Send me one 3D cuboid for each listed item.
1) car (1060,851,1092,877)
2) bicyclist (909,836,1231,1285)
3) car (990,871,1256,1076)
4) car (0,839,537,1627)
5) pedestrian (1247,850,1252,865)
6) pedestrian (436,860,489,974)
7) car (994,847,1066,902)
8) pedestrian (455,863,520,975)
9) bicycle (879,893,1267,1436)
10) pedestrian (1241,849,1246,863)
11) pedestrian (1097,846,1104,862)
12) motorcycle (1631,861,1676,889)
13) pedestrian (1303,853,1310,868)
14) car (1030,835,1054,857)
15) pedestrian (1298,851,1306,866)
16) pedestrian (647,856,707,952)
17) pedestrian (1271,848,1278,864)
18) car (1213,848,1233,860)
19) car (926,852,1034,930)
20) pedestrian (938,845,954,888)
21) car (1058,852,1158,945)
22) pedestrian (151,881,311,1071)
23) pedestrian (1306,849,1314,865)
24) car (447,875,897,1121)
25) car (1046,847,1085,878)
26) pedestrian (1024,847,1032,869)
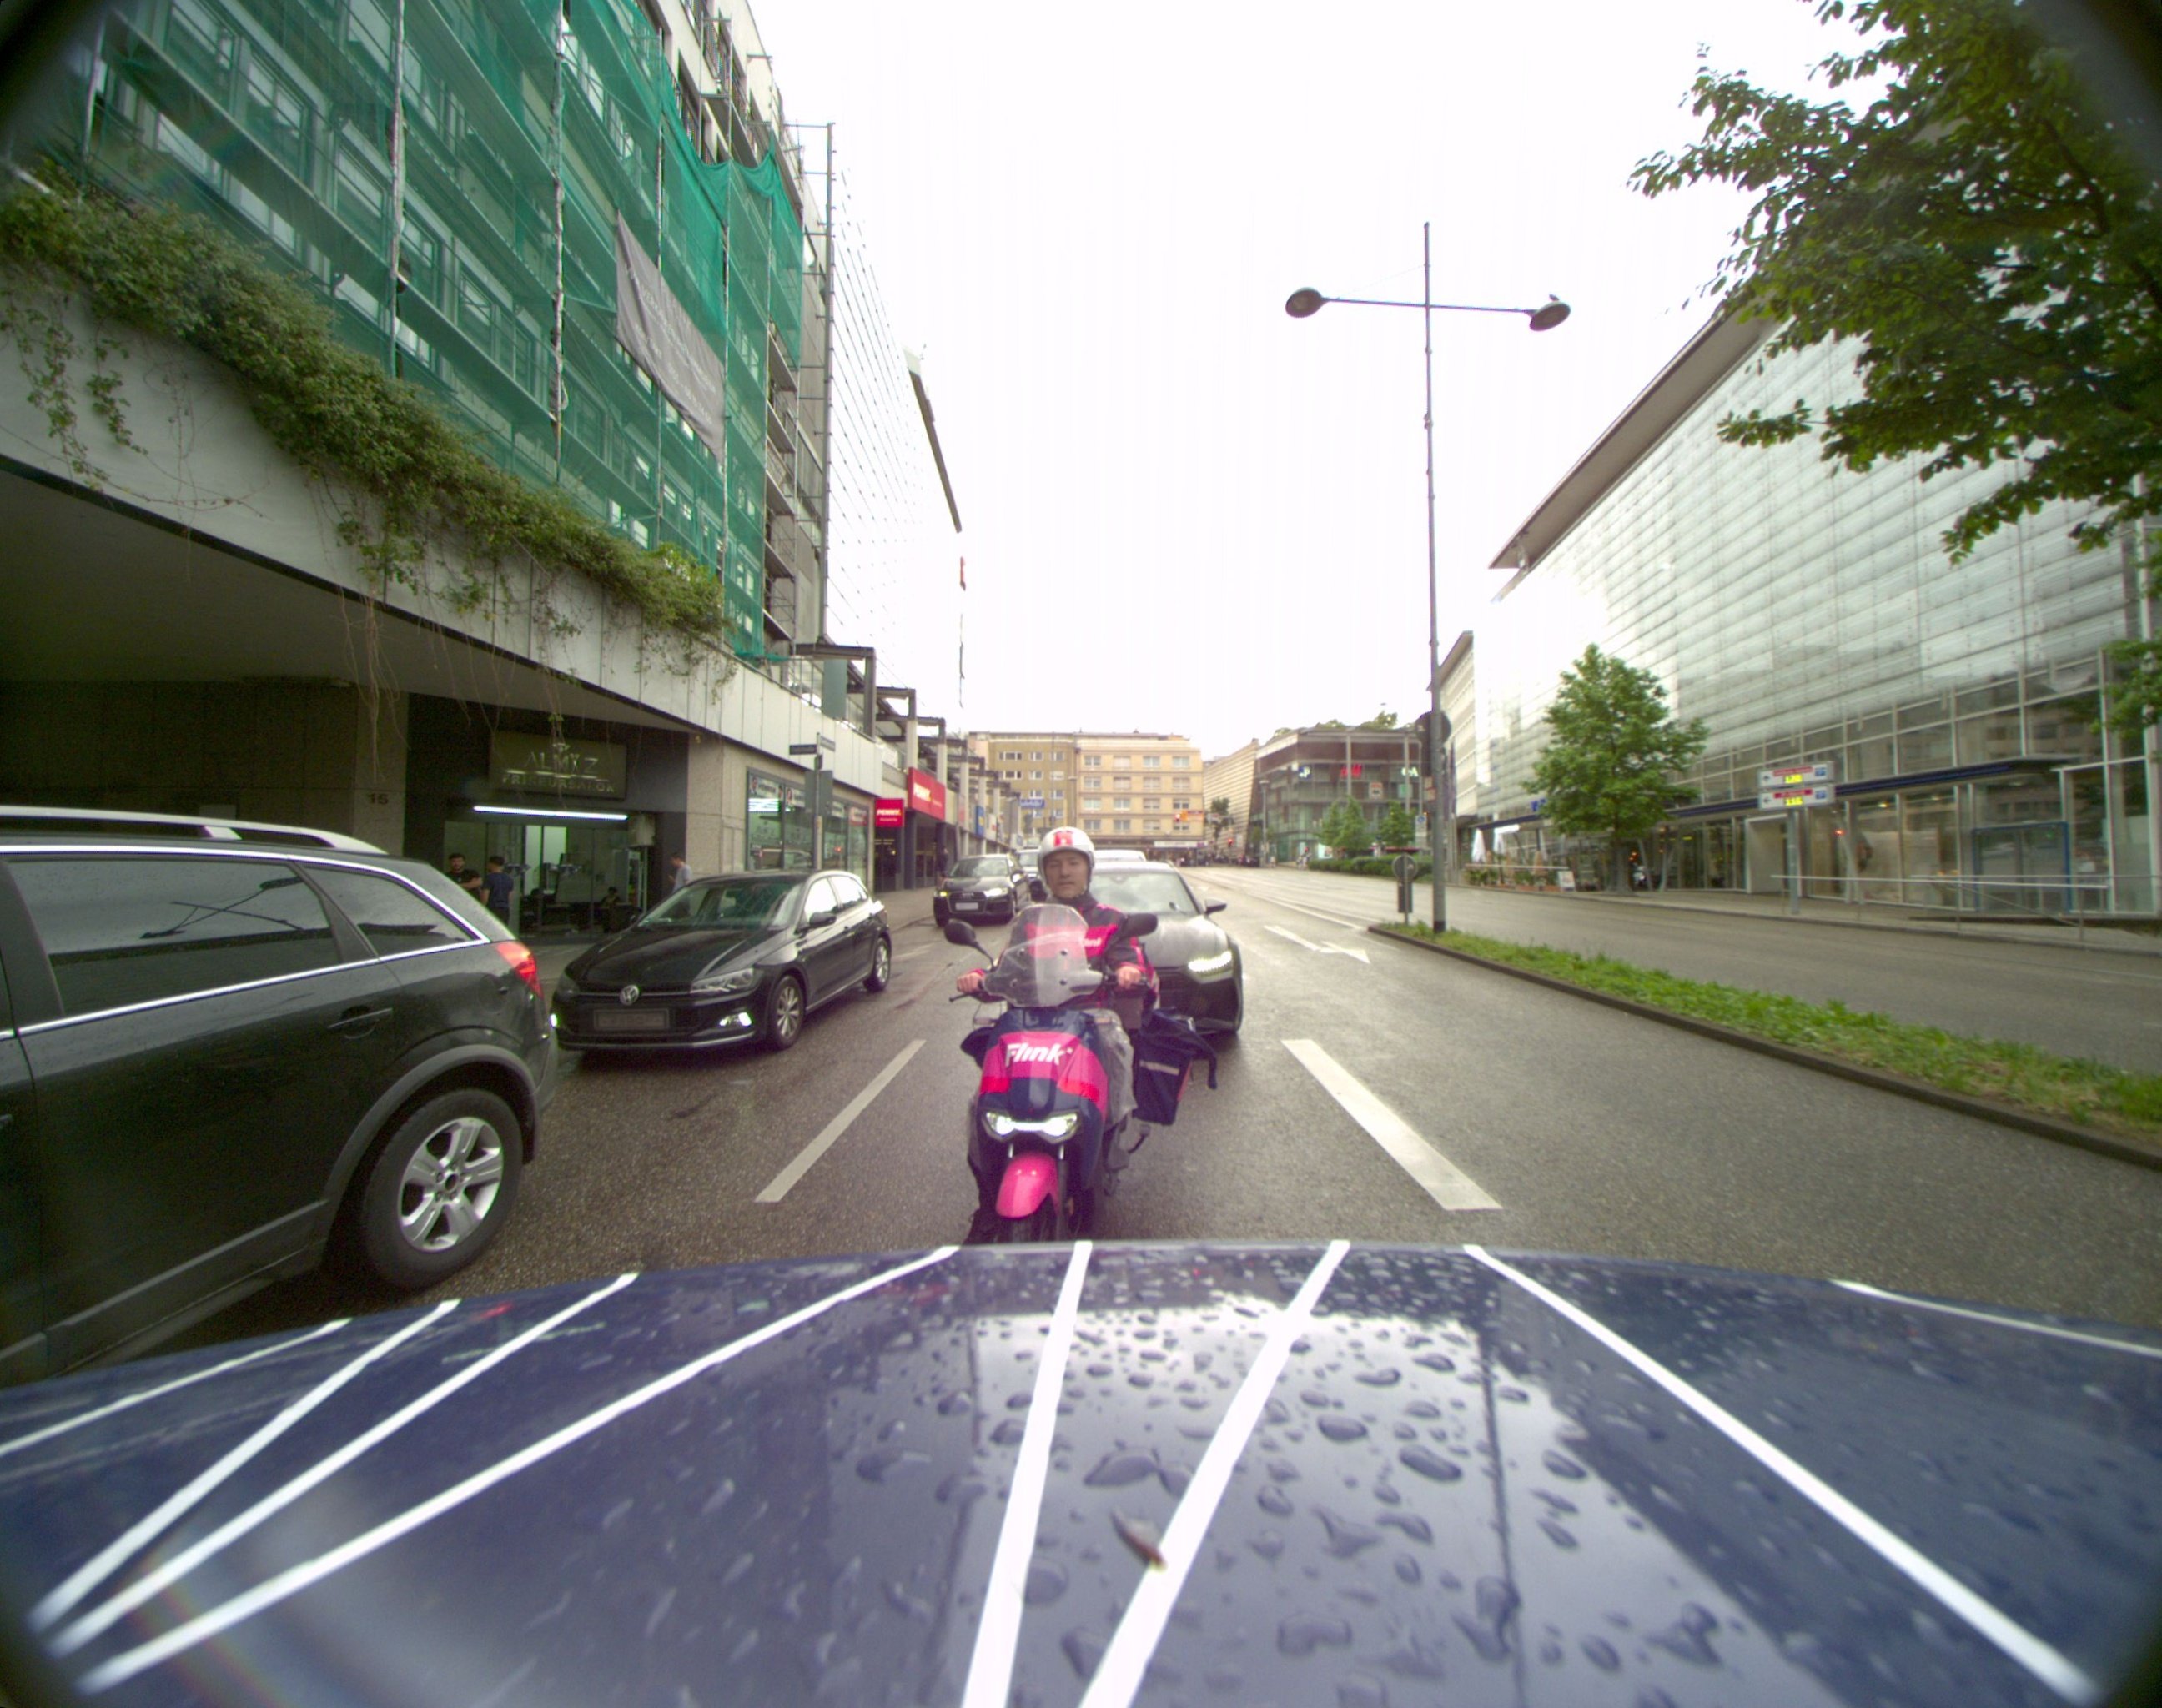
[{"bbox_3d":[-0.322,0.702,54.823,1.988,1.696,4.165,-2,0,2],"label":"car"},{"bbox_3d":[-0.030,0.714,3.041,1.063,1.534,0.825,-2,2,0],"label":"bicyclist"},{"bbox_3d":[0.391,0.924,7.620,1.890,1.391,4.165,-2,-1,2],"label":"car"},{"bbox_3d":[-3.323,0.866,1.240,1.764,1.755,4.164,-2,0,1],"label":"car"},{"bbox_3d":[18.670,0.358,84.330,0.428,1.620,0.602,1,1,5],"label":"pedestrian"},{"bbox_3d":[-9.563,0.947,11.747,0.466,1.698,0.484,0,2,42],"label":"pedestrian"},{"bbox_3d":[-1.660,0.669,26.142,1.988,1.696,4.165,-2,0,2],"label":"car"},{"bbox_3d":[-8.859,0.939,11.365,0.640,1.586,0.576,-3,2,-32],"label":"pedestrian"},{"bbox_3d":[-0.003,0.948,3.585,1.034,1.279,2.948,-2,1,1],"label":"bicycle"},{"bbox_3d":[18.549,0.252,86.876,0.428,1.620,0.602,1,1,3],"label":"pedestrian"},{"bbox_3d":[1.973,0.000,76.083,0.634,1.620,0.602,0,1,-1],"label":"pedestrian"},{"bbox_3d":[28.016,1.026,37.191,1.707,1.319,0.620,0,1,1],"label":"motorcycle"},{"bbox_3d":[23.976,0.674,80.758,0.633,1.620,0.602,1,1,4],"label":"pedestrian"},{"bbox_3d":[-3.687,-0.802,72.144,1.605,2.002,3.400,-2,1,7],"label":"car"},{"bbox_3d":[23.832,0.486,81.885,0.633,1.620,0.602,0,1,2],"label":"pedestrian"},{"bbox_3d":[-7.246,0.878,13.650,0.734,1.633,0.638,-2,2,-13],"label":"pedestrian"},{"bbox_3d":[21.726,0.205,85.411,0.626,1.764,0.689,-2,2,7],"label":"pedestrian"},{"bbox_3d":[24.375,-0.048,130.655,2.000,2.002,4.584,0,1,-7],"label":"car"},{"bbox_3d":[-2.298,0.793,18.432,1.841,1.598,4.164,-2,1,2],"label":"car"},{"bbox_3d":[-5.362,0.485,30.160,0.510,1.669,0.579,0,2,0],"label":"pedestrian"},{"bbox_3d":[0.552,0.766,15.193,1.675,1.520,4.164,-2,1,2],"label":"car"},{"bbox_3d":[-8.634,1.202,7.755,0.743,1.805,0.773,0,1,1],"label":"pedestrian"},{"bbox_3d":[25.356,0.342,84.122,0.626,1.764,0.689,-2,2,5],"label":"pedestrian"},{"bbox_3d":[-3.197,1.007,7.069,1.759,1.495,4.165,-2,-1,2],"label":"car"},{"bbox_3d":[-0.843,0.491,44.987,1.988,1.696,4.165,-2,0,2],"label":"car"},{"bbox_3d":[-3.740,0.275,53.910,0.510,1.492,0.579,0,2,0],"label":"pedestrian"}]
